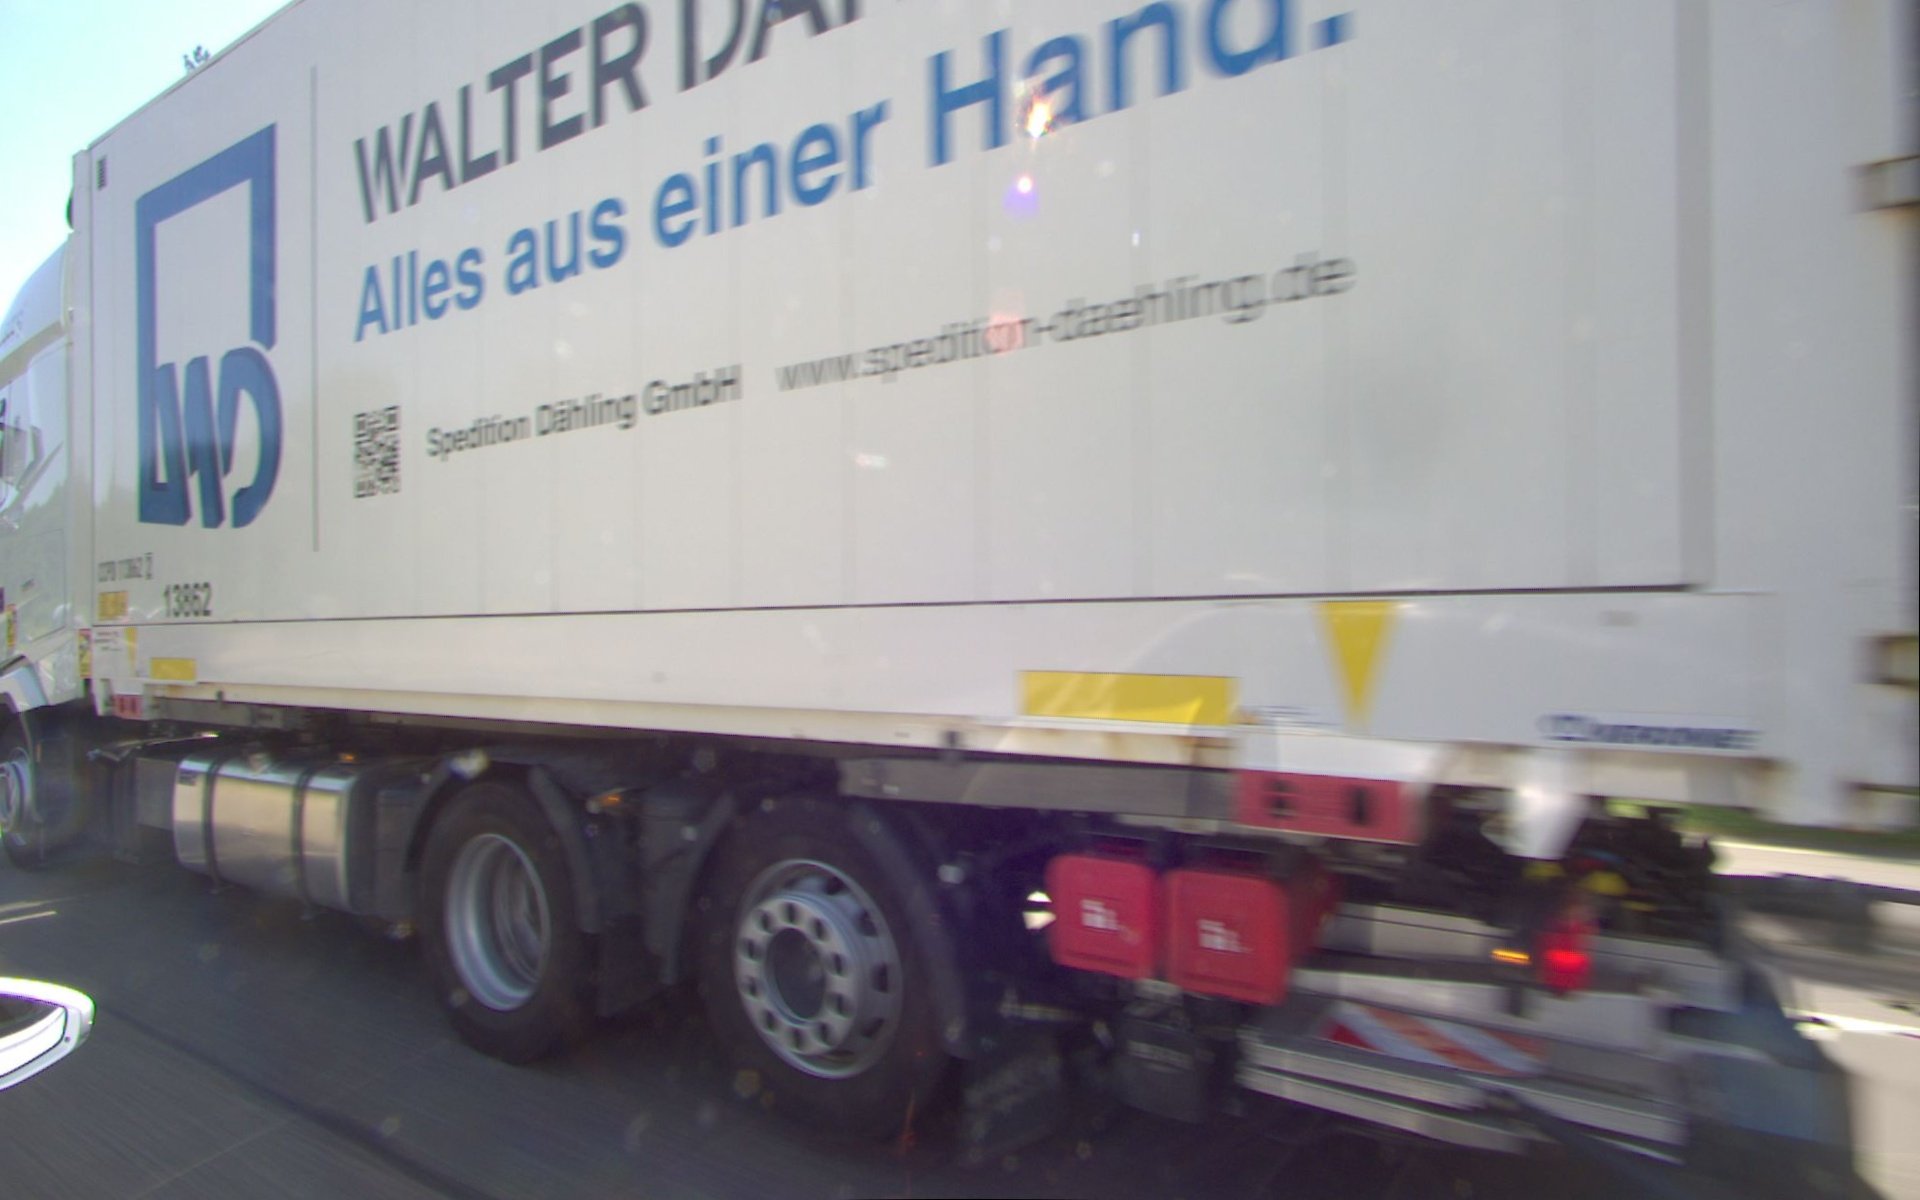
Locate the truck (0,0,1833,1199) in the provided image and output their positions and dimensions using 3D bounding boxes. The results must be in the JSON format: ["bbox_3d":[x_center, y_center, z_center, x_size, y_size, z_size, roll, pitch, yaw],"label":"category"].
[{"bbox_3d":[-2.419,-0.532,5.443,10.473,4.112,2.675,0,-1,33],"label":"truck"}]
